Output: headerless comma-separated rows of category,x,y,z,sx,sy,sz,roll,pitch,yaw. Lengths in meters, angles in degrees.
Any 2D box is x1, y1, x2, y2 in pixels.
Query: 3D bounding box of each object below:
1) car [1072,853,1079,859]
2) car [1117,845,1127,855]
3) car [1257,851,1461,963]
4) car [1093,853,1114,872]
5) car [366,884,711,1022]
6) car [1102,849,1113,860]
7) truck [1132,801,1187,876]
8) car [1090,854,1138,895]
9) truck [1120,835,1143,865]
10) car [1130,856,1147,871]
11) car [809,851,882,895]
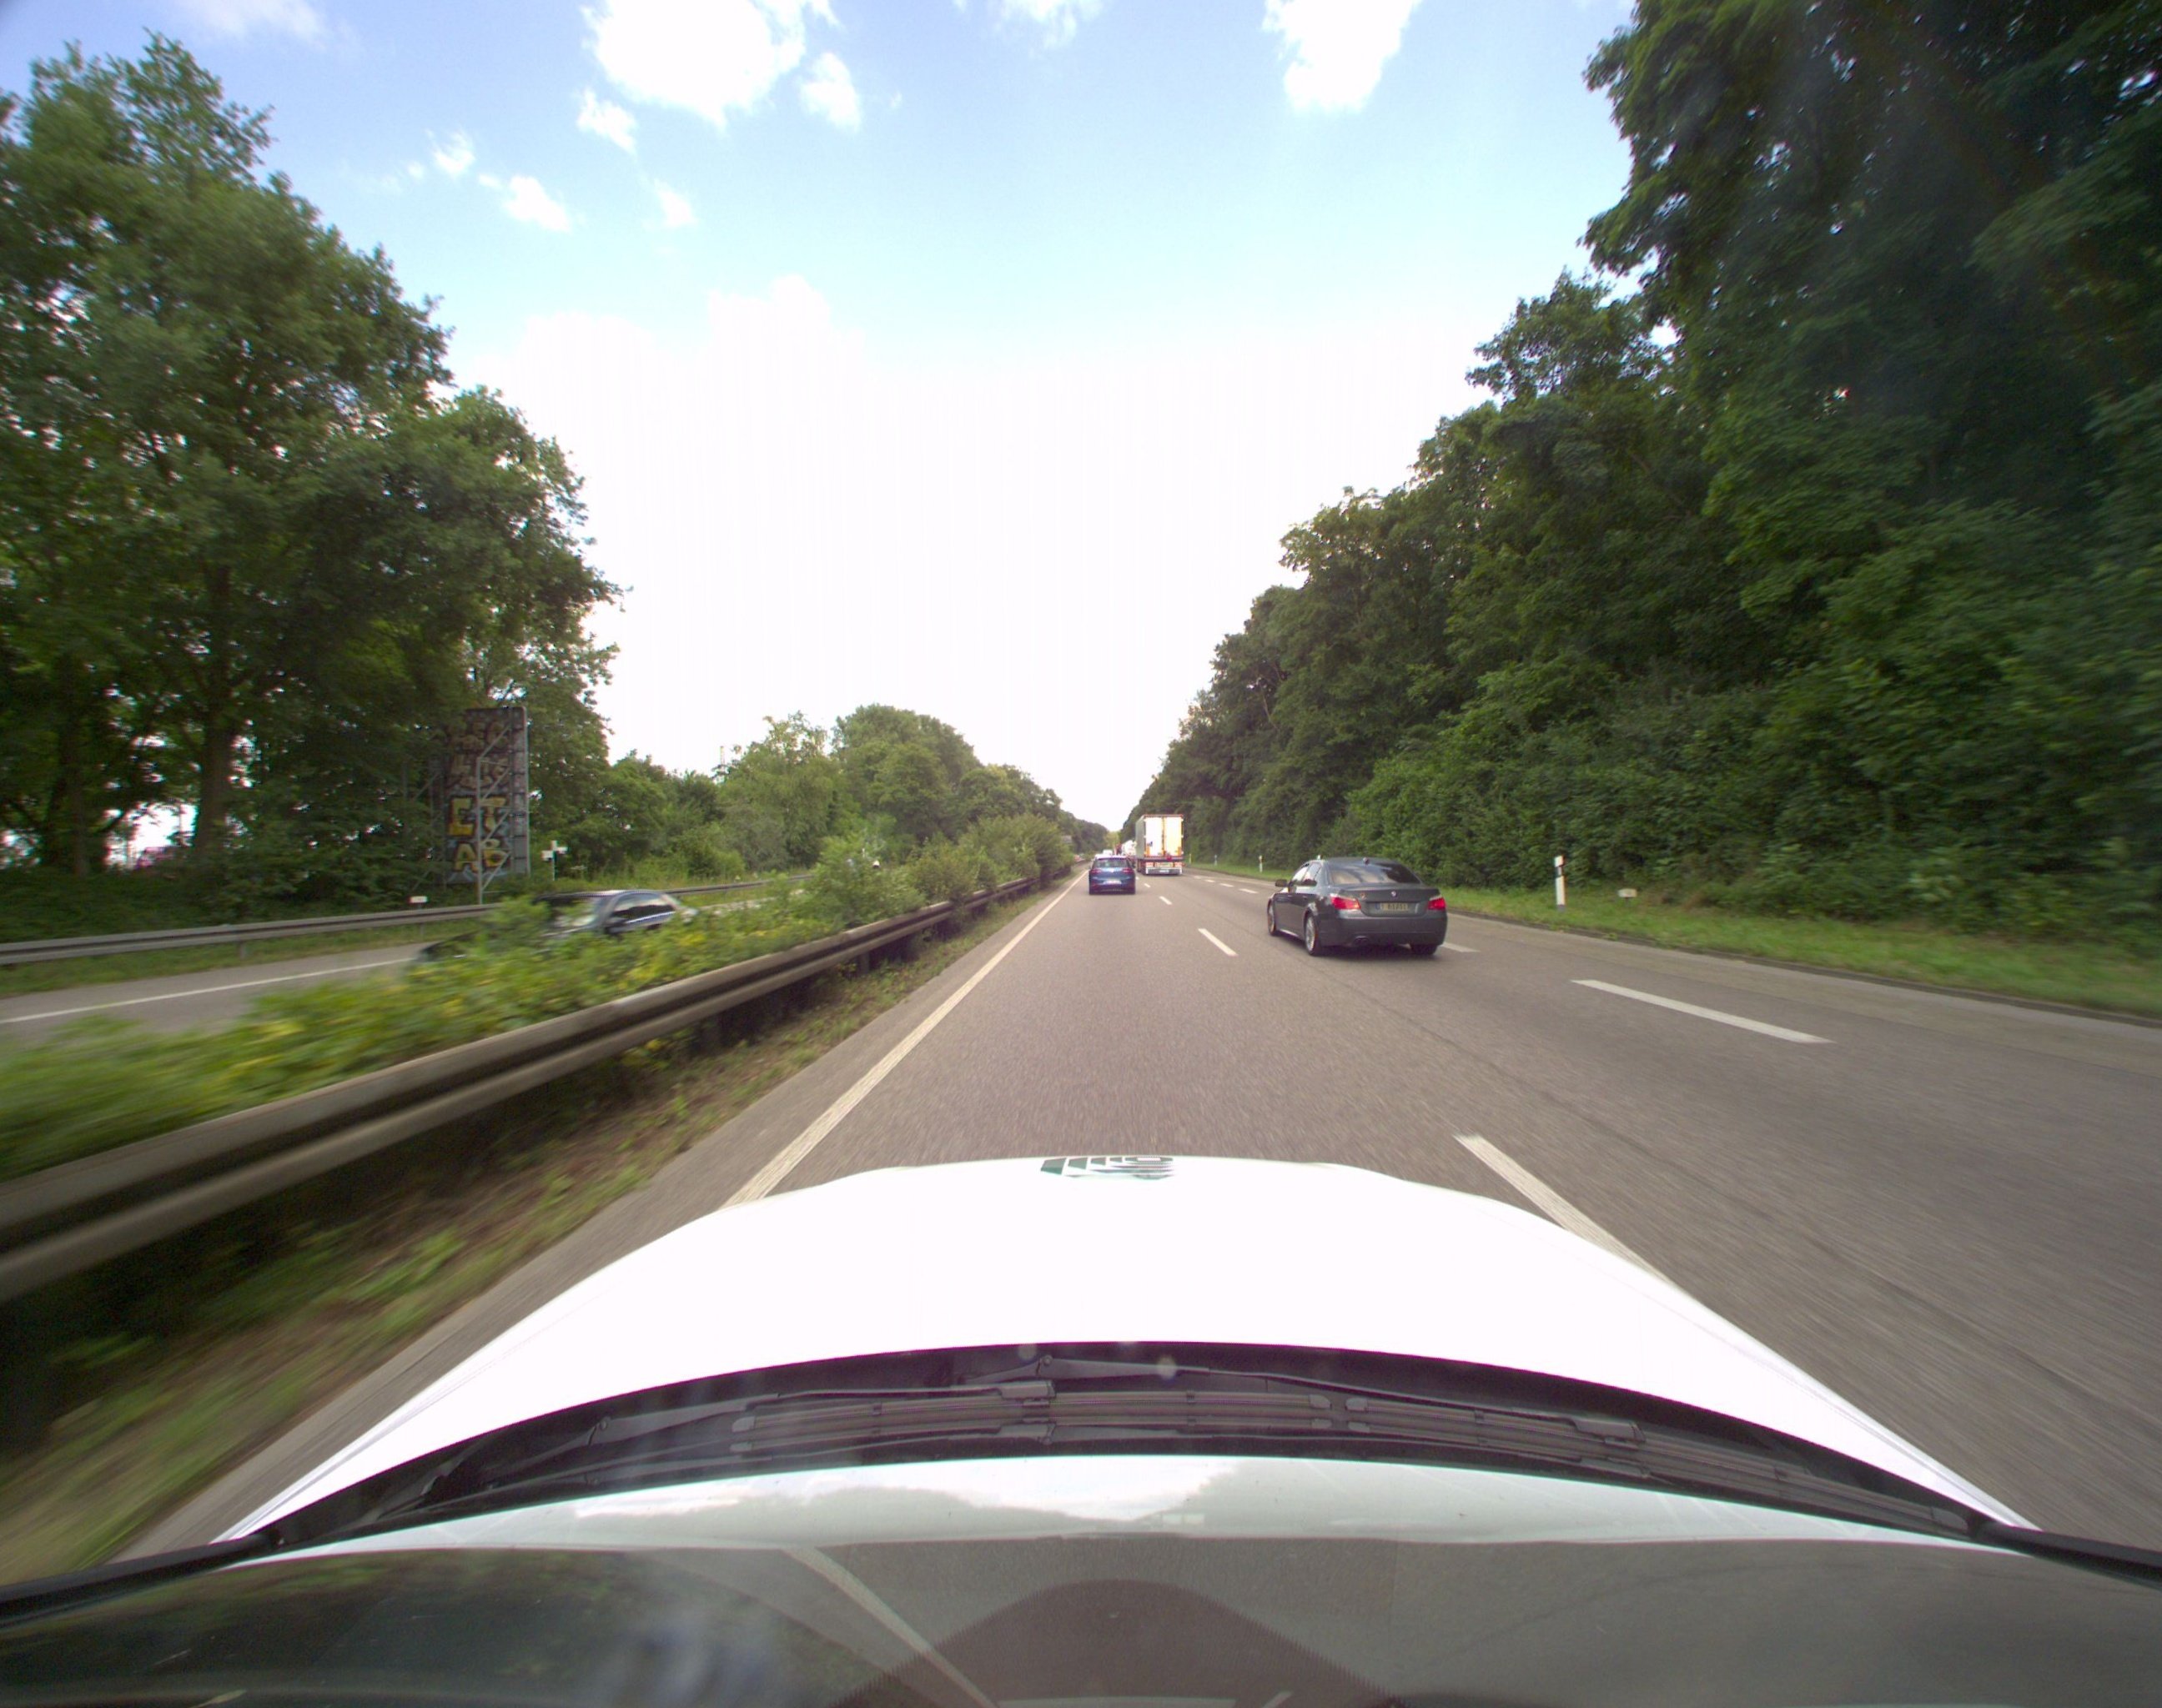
car,-1.371,0.625,214.292,1.671,1.454,4.130,-2,0,3
car,9.357,-0.942,187.318,1.988,2.327,4.440,-2,0,-1
car,4.226,0.705,13.283,1.768,1.475,4.882,0,0,1
car,1.918,0.694,67.508,1.659,1.500,4.154,-1,0,2
car,-7.457,1.251,11.947,1.777,1.432,4.719,-1,0,2
car,5.612,0.078,173.667,1.987,2.255,4.440,-2,0,-1
truck,5.369,-1.034,57.916,3.229,4.716,11.015,-2,0,3
car,1.241,0.754,31.441,1.699,1.470,4.001,0,0,1
truck,7.749,-0.575,126.795,3.219,4.386,12.977,-1,-1,2
car,7.073,1.138,100.033,1.881,1.729,4.002,-2,0,2
car,-10.809,0.830,37.701,1.986,1.869,4.279,-2,0,2
